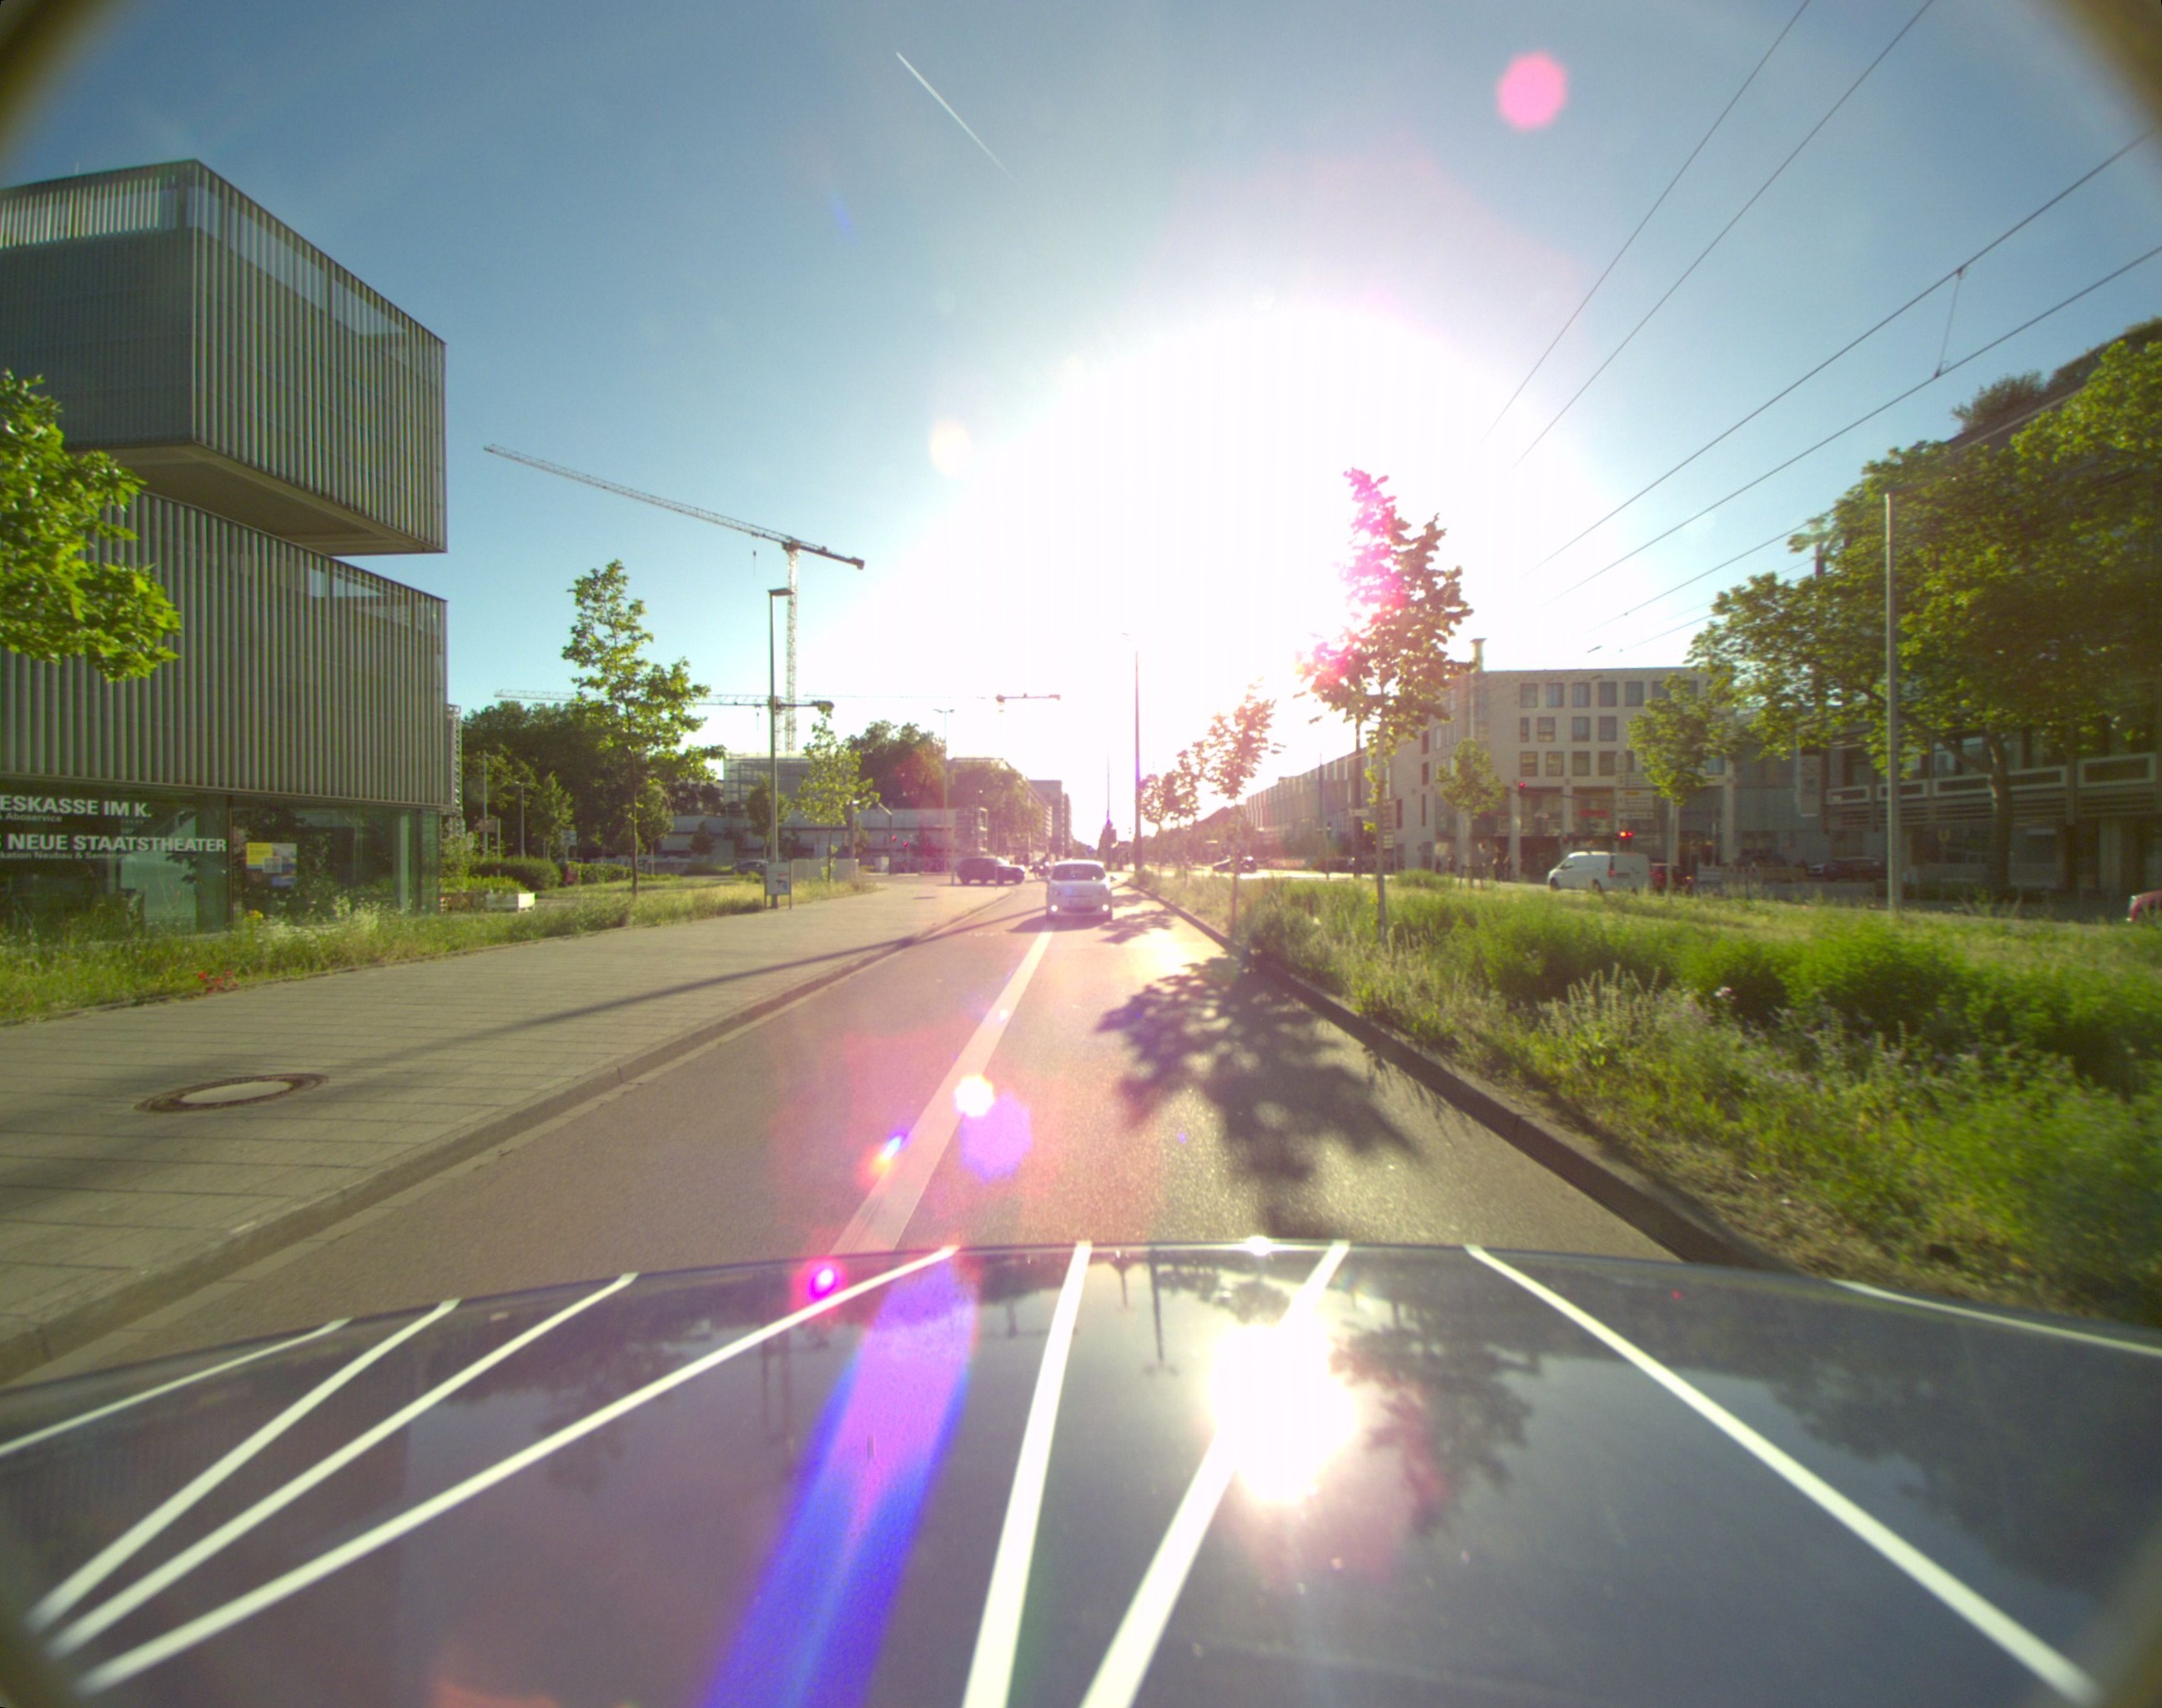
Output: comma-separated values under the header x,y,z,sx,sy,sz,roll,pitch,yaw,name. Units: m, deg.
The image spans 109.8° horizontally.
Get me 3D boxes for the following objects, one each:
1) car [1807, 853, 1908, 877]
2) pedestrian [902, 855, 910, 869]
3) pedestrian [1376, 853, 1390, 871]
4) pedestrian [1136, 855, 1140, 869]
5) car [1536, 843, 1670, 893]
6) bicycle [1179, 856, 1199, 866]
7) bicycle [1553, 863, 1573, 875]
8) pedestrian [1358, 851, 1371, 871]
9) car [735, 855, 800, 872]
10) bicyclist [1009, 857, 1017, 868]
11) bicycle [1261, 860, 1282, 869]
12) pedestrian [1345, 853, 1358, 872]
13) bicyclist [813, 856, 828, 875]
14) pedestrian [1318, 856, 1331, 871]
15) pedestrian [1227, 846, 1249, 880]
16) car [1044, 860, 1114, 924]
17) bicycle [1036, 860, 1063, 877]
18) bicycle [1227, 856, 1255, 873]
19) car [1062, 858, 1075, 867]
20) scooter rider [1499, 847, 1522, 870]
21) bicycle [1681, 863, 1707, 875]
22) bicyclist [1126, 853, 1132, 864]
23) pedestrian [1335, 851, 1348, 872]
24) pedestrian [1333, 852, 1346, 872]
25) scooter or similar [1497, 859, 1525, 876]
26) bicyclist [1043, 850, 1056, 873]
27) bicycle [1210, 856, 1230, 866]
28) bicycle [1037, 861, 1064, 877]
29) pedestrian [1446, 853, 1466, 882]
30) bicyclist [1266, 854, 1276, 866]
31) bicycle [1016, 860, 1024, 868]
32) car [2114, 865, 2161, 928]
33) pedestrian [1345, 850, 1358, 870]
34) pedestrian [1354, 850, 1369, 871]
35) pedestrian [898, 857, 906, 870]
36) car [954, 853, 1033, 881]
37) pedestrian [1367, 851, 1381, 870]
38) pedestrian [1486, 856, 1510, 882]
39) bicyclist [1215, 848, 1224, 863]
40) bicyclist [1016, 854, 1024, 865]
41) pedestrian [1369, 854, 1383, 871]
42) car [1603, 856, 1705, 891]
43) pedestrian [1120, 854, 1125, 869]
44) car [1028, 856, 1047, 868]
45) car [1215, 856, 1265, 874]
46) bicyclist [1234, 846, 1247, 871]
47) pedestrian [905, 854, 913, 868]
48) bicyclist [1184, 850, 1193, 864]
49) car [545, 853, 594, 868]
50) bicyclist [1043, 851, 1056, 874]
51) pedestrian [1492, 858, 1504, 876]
x,y,z,sx,sy,sz,roll,pitch,yaw,name
54.730,0.788,53.622,4.787,1.652,2.201,0,0,3,car
-19.948,0.885,86.526,0.653,1.580,0.841,0,0,7,pedestrian
32.329,0.852,81.357,1.025,2.002,0.915,0,1,-33,pedestrian
6.215,0.842,83.139,0.450,1.557,0.520,0,1,7,pedestrian
23.650,0.583,34.784,2.264,2.002,5.709,2,0,2,car
11.237,0.749,79.138,2.074,0.973,0.806,-1,1,11,bicycle
46.511,1.451,73.280,0.657,1.106,2.412,0,0,7,bicycle
30.518,0.715,81.859,0.948,2.111,0.896,0,1,-25,pedestrian
-25.128,0.732,61.047,4.520,1.344,1.777,0,1,7,car
-7.878,0.984,88.309,0.636,1.263,0.807,-1,1,23,bicyclist
20.586,1.129,82.306,2.075,0.922,0.805,-1,1,1,bicycle
29.385,0.906,82.604,0.947,2.111,0.897,0,1,-14,pedestrian
-20.238,0.882,59.091,0.937,1.495,0.624,0,1,0,bicyclist
25.249,1.004,78.864,0.843,1.562,0.943,-1,1,-33,pedestrian
9.002,0.497,43.592,1.050,1.900,1.015,0,1,1,pedestrian
0.033,0.922,20.063,1.659,1.463,3.969,-1,0,2,car
-2.182,0.982,52.264,1.815,1.110,0.625,0,0,-1,bicycle
10.737,0.701,51.033,1.797,1.087,0.710,0,0,15,bicycle
-1.901,1.321,118.092,1.785,1.317,3.999,0,2,1,car
28.887,0.297,51.109,1.116,1.535,0.644,0,2,4,scooter rider
58.405,1.453,72.426,0.834,1.104,2.477,0,0,8,bicycle
6.238,0.596,98.305,0.755,1.496,0.617,0,1,1,bicyclist
27.176,0.759,79.205,0.949,2.111,0.896,0,1,-35,pedestrian
27.408,0.849,80.654,0.948,2.111,0.896,0,1,-28,pedestrian
28.885,0.907,51.019,1.482,1.169,0.644,0,2,4,scooter or similar
-2.173,0.535,52.266,0.894,1.566,0.625,0,0,-2,bicyclist
14.332,0.717,78.434,1.975,0.991,0.649,-1,0,8,bicycle
-2.086,1.000,51.491,1.799,1.087,0.652,0,0,0,bicycle
22.440,0.798,45.476,0.739,1.734,0.858,-1,0,-1,pedestrian
20.573,0.632,82.303,0.841,1.349,0.805,-1,1,2,bicyclist
-7.282,1.234,90.832,0.805,0.922,2.076,-1,0,-3,bicycle
25.920,1.027,16.617,1.715,1.444,3.575,3,0,0,car
28.692,0.668,80.636,0.948,2.111,0.896,0,1,-28,pedestrian
29.114,0.684,78.908,1.100,2.117,1.060,-1,1,-36,pedestrian
-20.214,1.119,85.759,0.653,1.445,0.604,0,0,7,pedestrian
-5.442,0.777,46.946,4.778,1.652,2.004,0,0,36,car
31.100,0.727,80.647,1.025,2.002,0.915,0,1,-31,pedestrian
25.595,0.916,46.633,0.924,1.540,0.898,-2,0,-11,pedestrian
14.307,0.169,78.438,0.940,1.536,0.649,-1,0,8,bicyclist
-7.292,0.702,90.834,0.805,1.290,0.776,-1,1,-3,bicyclist
30.287,0.871,78.070,0.950,1.641,1.005,-1,1,-39,pedestrian
26.802,0.875,35.718,1.844,1.477,3.880,3,0,2,car
4.461,0.826,82.143,0.450,1.557,0.520,0,1,7,pedestrian
-5.302,0.983,93.009,1.998,1.368,4.000,-1,0,2,car
14.478,0.993,69.505,4.289,1.571,1.945,0,0,5,car
10.732,0.301,51.018,0.785,1.659,0.702,0,0,16,bicyclist
-19.830,0.811,87.459,0.653,1.670,0.841,0,0,7,pedestrian
11.191,0.333,79.151,0.842,1.394,0.806,-1,1,11,bicyclist
-66.730,0.858,99.230,1.997,1.880,5.335,-1,0,12,car
-2.105,0.562,51.491,0.847,1.534,0.652,0,0,0,bicyclist
39.761,1.204,72.425,0.756,1.730,0.753,0,1,4,pedestrian
